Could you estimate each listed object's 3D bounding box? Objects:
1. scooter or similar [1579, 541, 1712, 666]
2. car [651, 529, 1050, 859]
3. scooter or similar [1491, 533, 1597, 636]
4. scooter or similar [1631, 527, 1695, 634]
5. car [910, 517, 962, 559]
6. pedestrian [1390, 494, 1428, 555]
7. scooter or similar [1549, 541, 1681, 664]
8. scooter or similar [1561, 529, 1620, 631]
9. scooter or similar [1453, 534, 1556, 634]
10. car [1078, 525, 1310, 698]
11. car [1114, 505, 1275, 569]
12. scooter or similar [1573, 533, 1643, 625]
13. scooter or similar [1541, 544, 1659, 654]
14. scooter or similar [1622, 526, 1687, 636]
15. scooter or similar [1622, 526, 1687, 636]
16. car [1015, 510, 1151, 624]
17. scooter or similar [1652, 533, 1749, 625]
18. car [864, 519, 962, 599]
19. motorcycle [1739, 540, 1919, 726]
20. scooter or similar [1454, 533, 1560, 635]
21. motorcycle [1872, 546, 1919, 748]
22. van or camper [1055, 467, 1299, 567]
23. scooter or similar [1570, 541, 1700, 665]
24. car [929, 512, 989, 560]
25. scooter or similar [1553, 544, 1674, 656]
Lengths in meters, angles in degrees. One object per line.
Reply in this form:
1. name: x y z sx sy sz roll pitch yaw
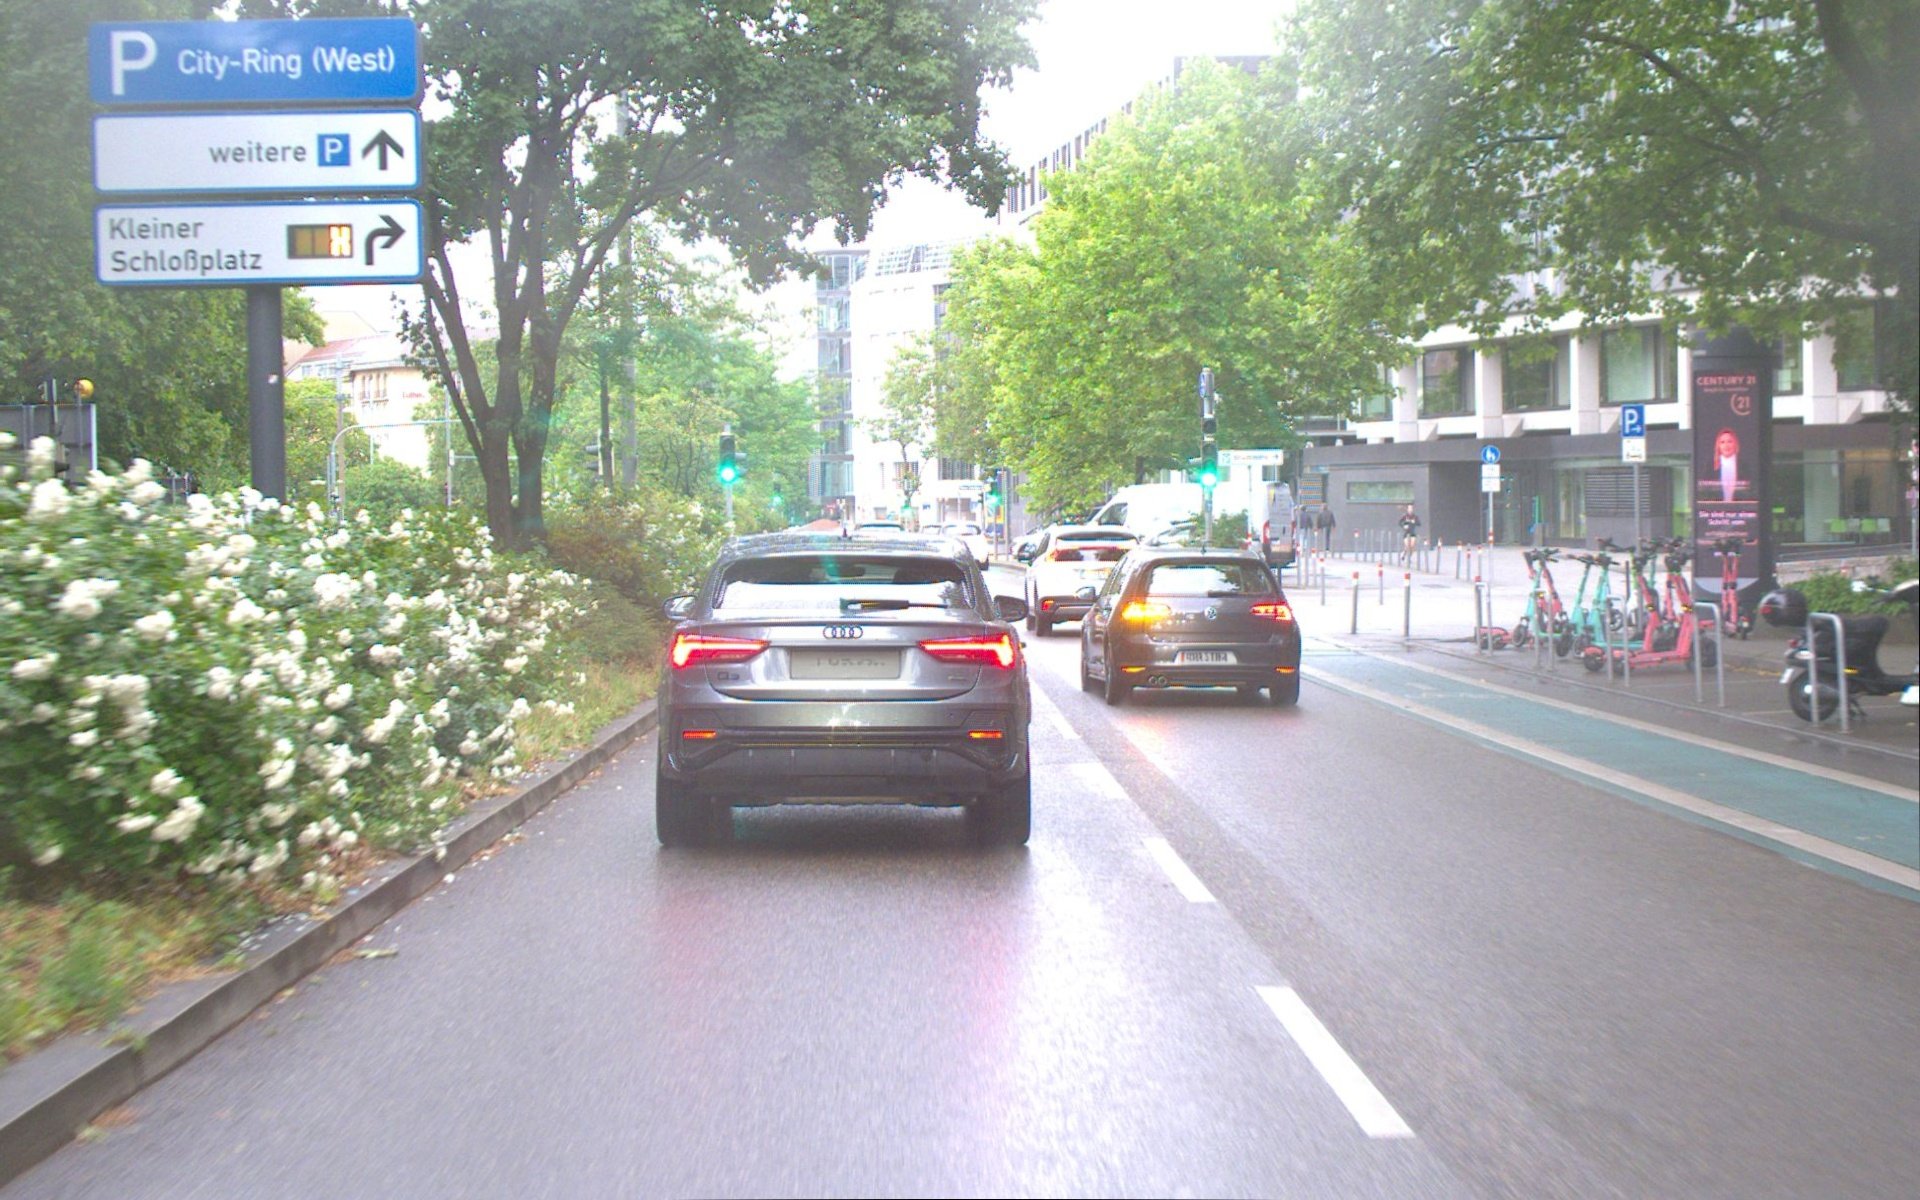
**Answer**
1. scooter or similar: 7.297 0.032 36.620 1.289 1.274 0.537 -2 3 3
2. car: -0.569 0.397 18.003 1.849 1.518 4.039 0 1 -2
3. scooter or similar: 7.398 -0.195 43.549 1.290 1.255 0.489 -1 3 11
4. scooter or similar: 8.796 -0.252 43.020 0.487 1.255 1.294 -2 3 -1
5. car: -0.881 -2.259 124.933 1.849 1.518 4.039 0 1 -1
6. pedestrian: 12.630 -2.120 96.798 0.805 1.690 1.188 0 1 -6
7. scooter or similar: 7.188 0.019 37.748 1.289 1.274 0.537 -2 3 -11
8. scooter or similar: 8.195 -0.274 44.721 0.487 1.255 1.294 -2 3 -1
9. scooter or similar: 7.080 -0.210 44.692 1.290 1.255 0.489 -1 3 11
10. car: 2.142 0.060 32.457 1.849 1.518 4.039 0 1 -1
11. car: 5.765 -1.562 84.511 3.652 1.542 1.713 0 1 18
12. scooter or similar: 8.585 -0.282 45.580 0.487 1.193 1.294 -1 1 -10
13. scooter or similar: 7.562 -0.012 40.633 1.289 1.231 0.489 -2 3 2
14. scooter or similar: 8.437 -0.240 41.786 0.487 1.255 1.294 -2 3 -1
15. scooter or similar: 8.437 -0.240 41.786 0.487 1.255 1.294 -2 3 -1
16. car: 1.828 -0.532 52.144 1.849 1.663 4.039 0 1 -1
17. scooter or similar: 9.760 -0.274 45.365 0.487 1.193 1.293 -1 1 -32
18. car: -0.921 -0.821 66.921 1.849 1.518 4.039 0 1 -1
19. motorcycle: 7.288 0.241 27.423 1.955 1.369 0.729 -3 3 -17
20. scooter or similar: 7.014 -0.203 44.079 1.290 1.255 0.489 -1 3 11
21. motorcycle: 7.458 0.286 24.160 1.955 1.369 0.729 -3 3 -22
22. van or camper: 5.707 -2.166 90.668 6.074 2.549 2.102 0 1 26
23. scooter or similar: 7.273 0.027 37.064 1.289 1.274 0.537 -2 3 3
24. car: -0.050 -2.067 110.681 1.849 1.518 4.039 0 1 -1
25. scooter or similar: 7.576 -0.004 39.889 1.289 1.231 0.489 -2 3 2
